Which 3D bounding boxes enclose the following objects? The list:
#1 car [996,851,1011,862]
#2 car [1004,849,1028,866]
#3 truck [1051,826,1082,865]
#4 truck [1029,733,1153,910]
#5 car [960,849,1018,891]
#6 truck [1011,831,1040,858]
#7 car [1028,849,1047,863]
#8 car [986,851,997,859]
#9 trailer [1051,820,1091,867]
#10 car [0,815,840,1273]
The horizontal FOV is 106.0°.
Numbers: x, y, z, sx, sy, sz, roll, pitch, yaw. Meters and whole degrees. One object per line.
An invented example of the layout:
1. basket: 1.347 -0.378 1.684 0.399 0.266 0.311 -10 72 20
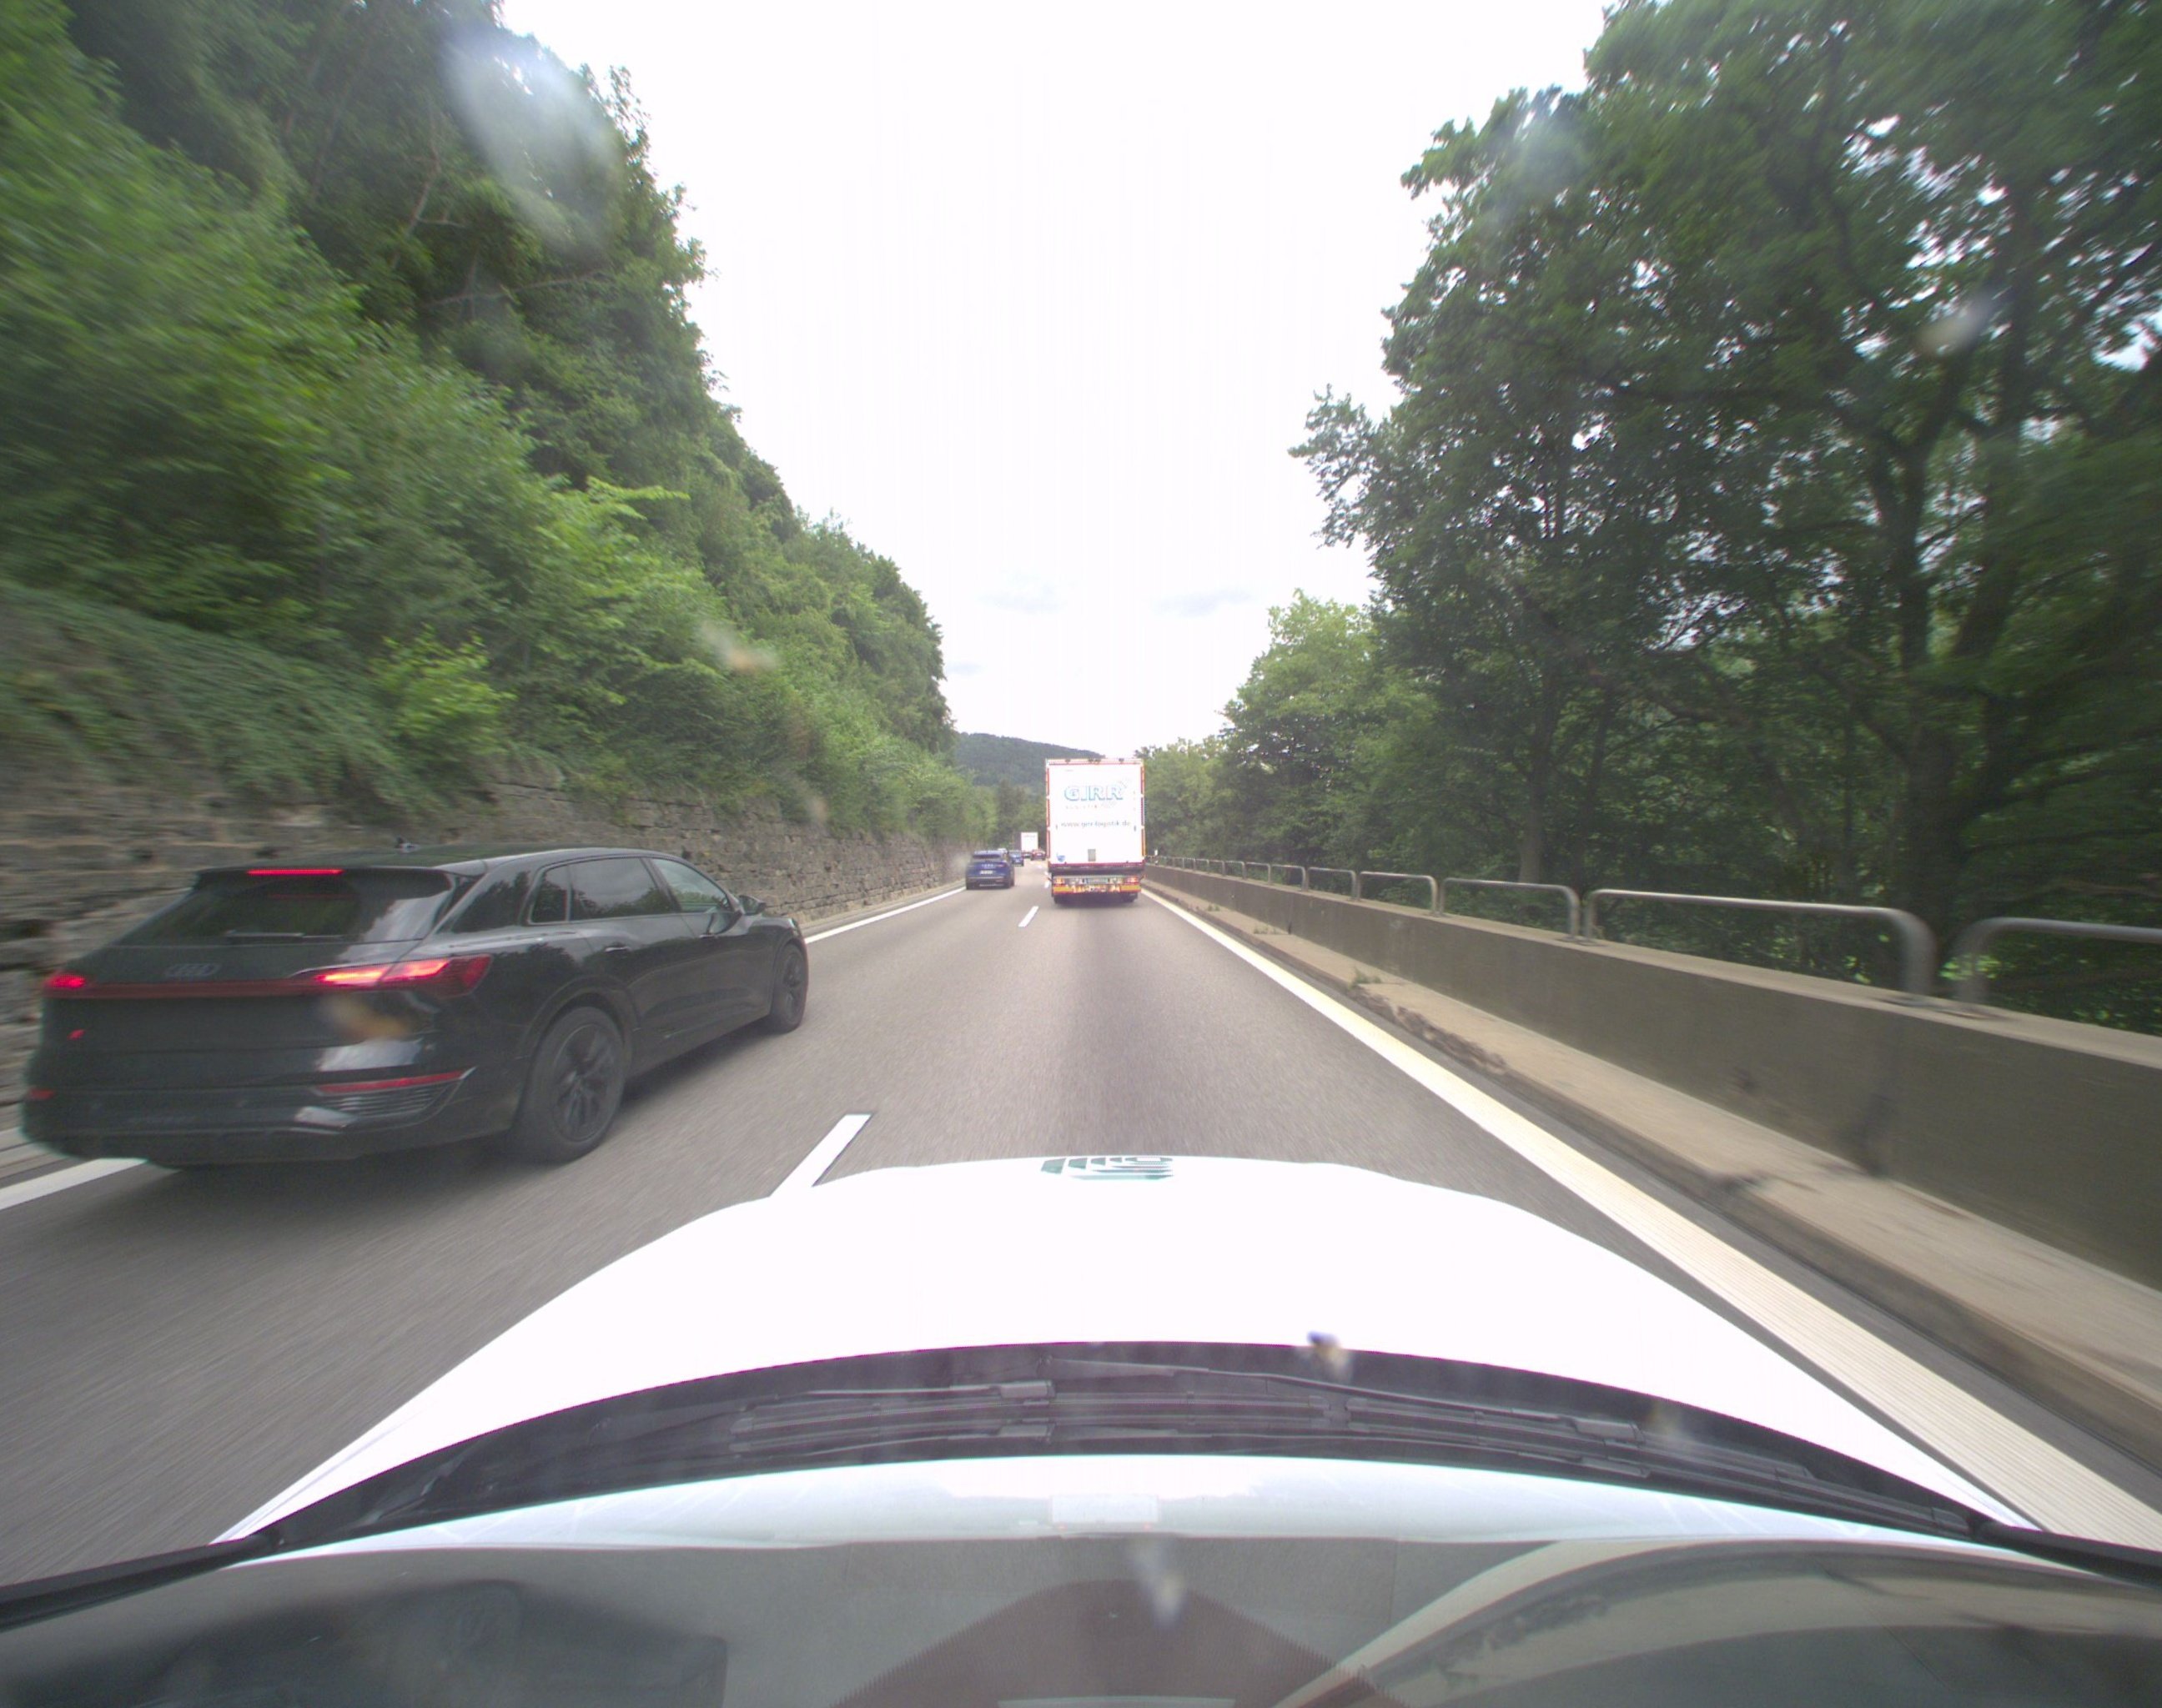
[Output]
1. car: -11.576 0.363 121.768 1.897 1.550 4.234 0 0 -11
2. car: -6.151 0.308 76.756 1.993 1.596 4.340 -1 0 -9
3. truck: -1.197 -0.632 63.561 2.204 2.851 4.997 0 0 -4
4. truck: 0.215 -0.867 28.452 3.075 4.464 15.151 -1 0 0
5. car: -3.905 0.632 35.336 1.988 1.632 5.006 -1 0 -1
6. truck: -8.791 -1.405 127.017 2.636 3.857 12.306 -1 0 -12
7. car: -5.651 0.234 105.081 2.059 1.654 3.989 -1 0 -8
8. car: -17.830 0.189 161.772 1.898 1.550 4.233 0 0 -11
9. trailer: -0.844 -0.675 57.774 2.207 3.048 11.123 0 0 -4
10. car: -3.439 0.698 5.472 1.986 1.632 5.010 -1 0 1
